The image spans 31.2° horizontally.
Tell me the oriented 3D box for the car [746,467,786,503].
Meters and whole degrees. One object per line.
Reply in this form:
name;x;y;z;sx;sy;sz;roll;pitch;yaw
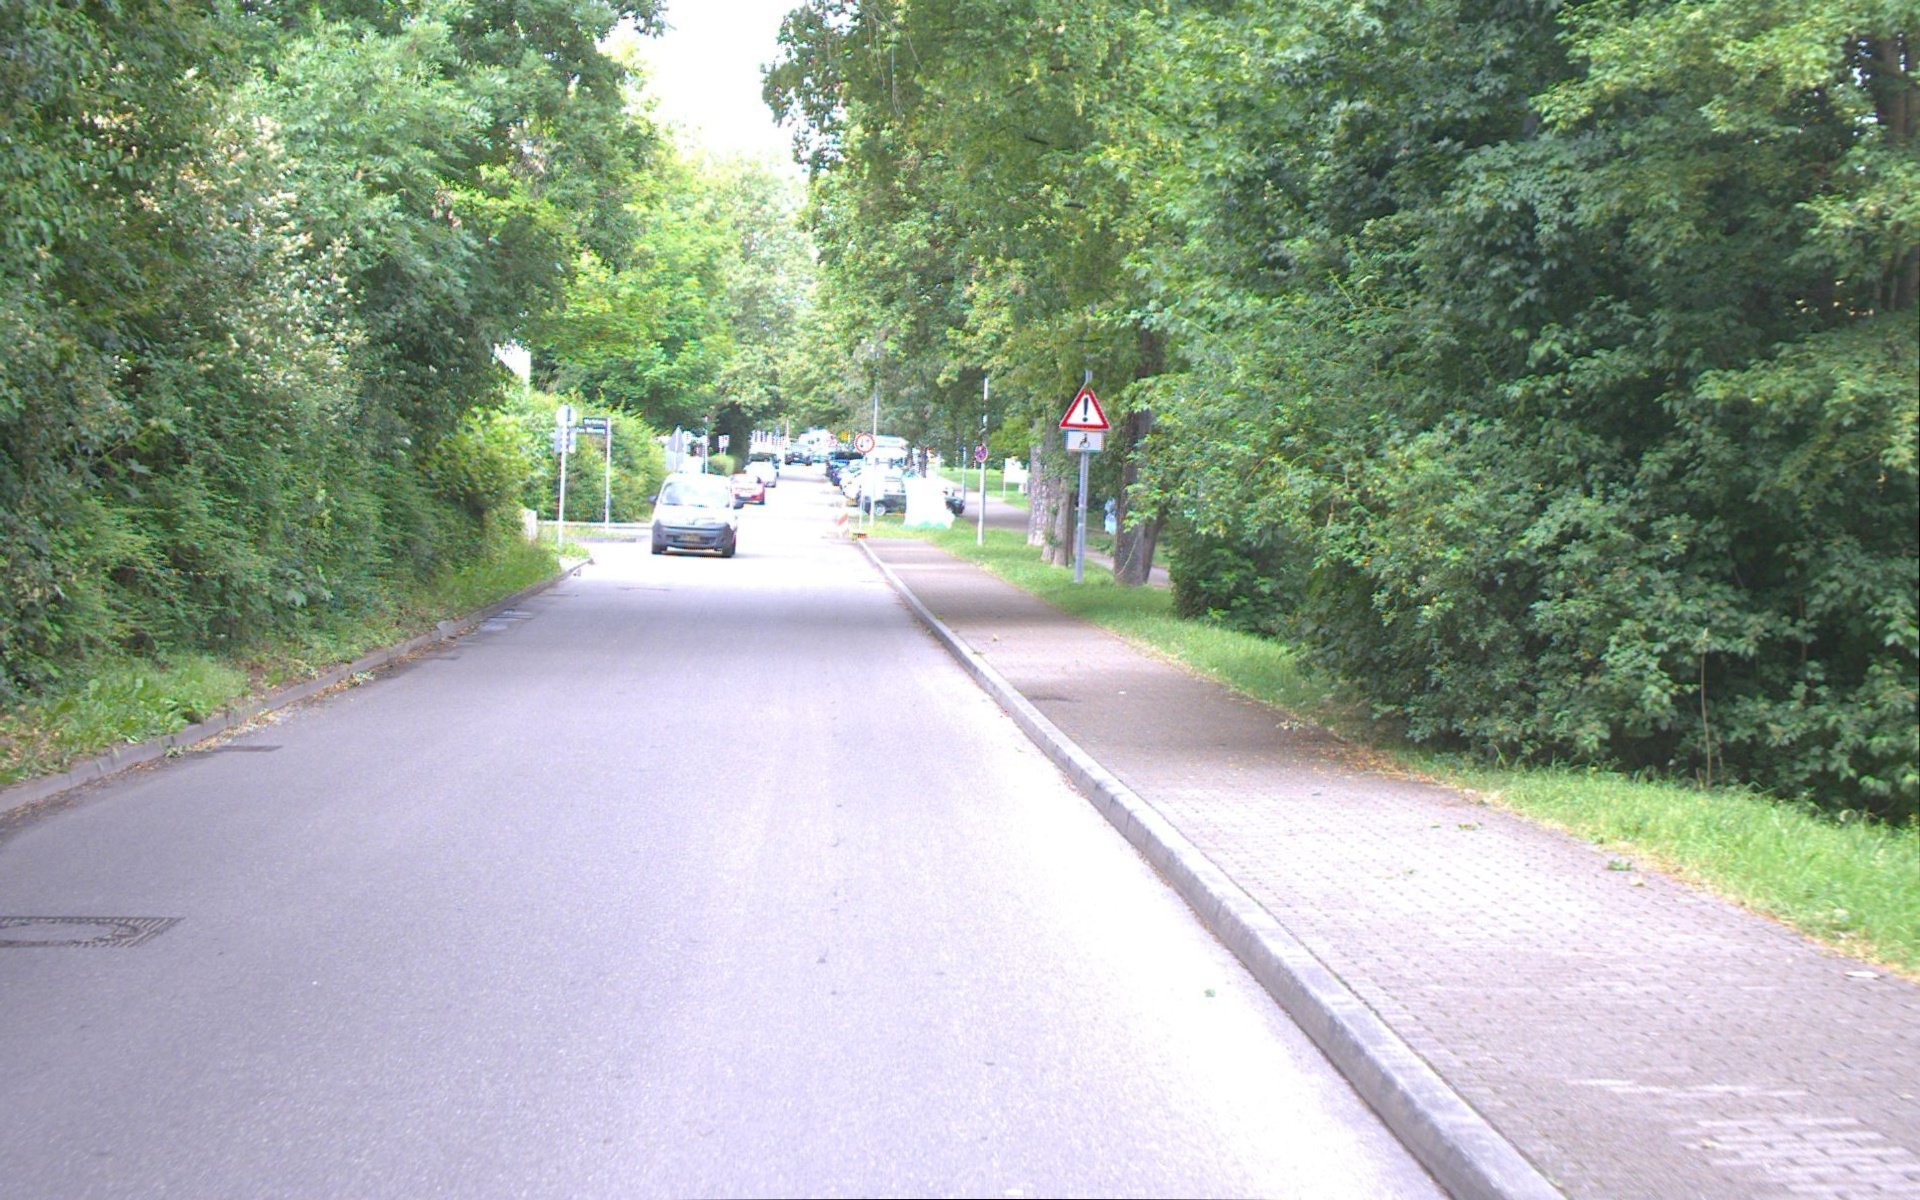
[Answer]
car;-10.660;-6.323;189.122;1.993;1.766;4.000;2;0;-1

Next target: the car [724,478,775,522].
car;-9.157;-4.338;149.628;1.993;1.766;4.000;2;0;-1

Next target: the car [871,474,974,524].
car;-1.490;-4.002;136.091;3.987;1.766;2.000;2;0;-1

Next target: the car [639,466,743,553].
car;-5.892;-1.972;75.820;1.993;1.766;4.000;2;0;-1
